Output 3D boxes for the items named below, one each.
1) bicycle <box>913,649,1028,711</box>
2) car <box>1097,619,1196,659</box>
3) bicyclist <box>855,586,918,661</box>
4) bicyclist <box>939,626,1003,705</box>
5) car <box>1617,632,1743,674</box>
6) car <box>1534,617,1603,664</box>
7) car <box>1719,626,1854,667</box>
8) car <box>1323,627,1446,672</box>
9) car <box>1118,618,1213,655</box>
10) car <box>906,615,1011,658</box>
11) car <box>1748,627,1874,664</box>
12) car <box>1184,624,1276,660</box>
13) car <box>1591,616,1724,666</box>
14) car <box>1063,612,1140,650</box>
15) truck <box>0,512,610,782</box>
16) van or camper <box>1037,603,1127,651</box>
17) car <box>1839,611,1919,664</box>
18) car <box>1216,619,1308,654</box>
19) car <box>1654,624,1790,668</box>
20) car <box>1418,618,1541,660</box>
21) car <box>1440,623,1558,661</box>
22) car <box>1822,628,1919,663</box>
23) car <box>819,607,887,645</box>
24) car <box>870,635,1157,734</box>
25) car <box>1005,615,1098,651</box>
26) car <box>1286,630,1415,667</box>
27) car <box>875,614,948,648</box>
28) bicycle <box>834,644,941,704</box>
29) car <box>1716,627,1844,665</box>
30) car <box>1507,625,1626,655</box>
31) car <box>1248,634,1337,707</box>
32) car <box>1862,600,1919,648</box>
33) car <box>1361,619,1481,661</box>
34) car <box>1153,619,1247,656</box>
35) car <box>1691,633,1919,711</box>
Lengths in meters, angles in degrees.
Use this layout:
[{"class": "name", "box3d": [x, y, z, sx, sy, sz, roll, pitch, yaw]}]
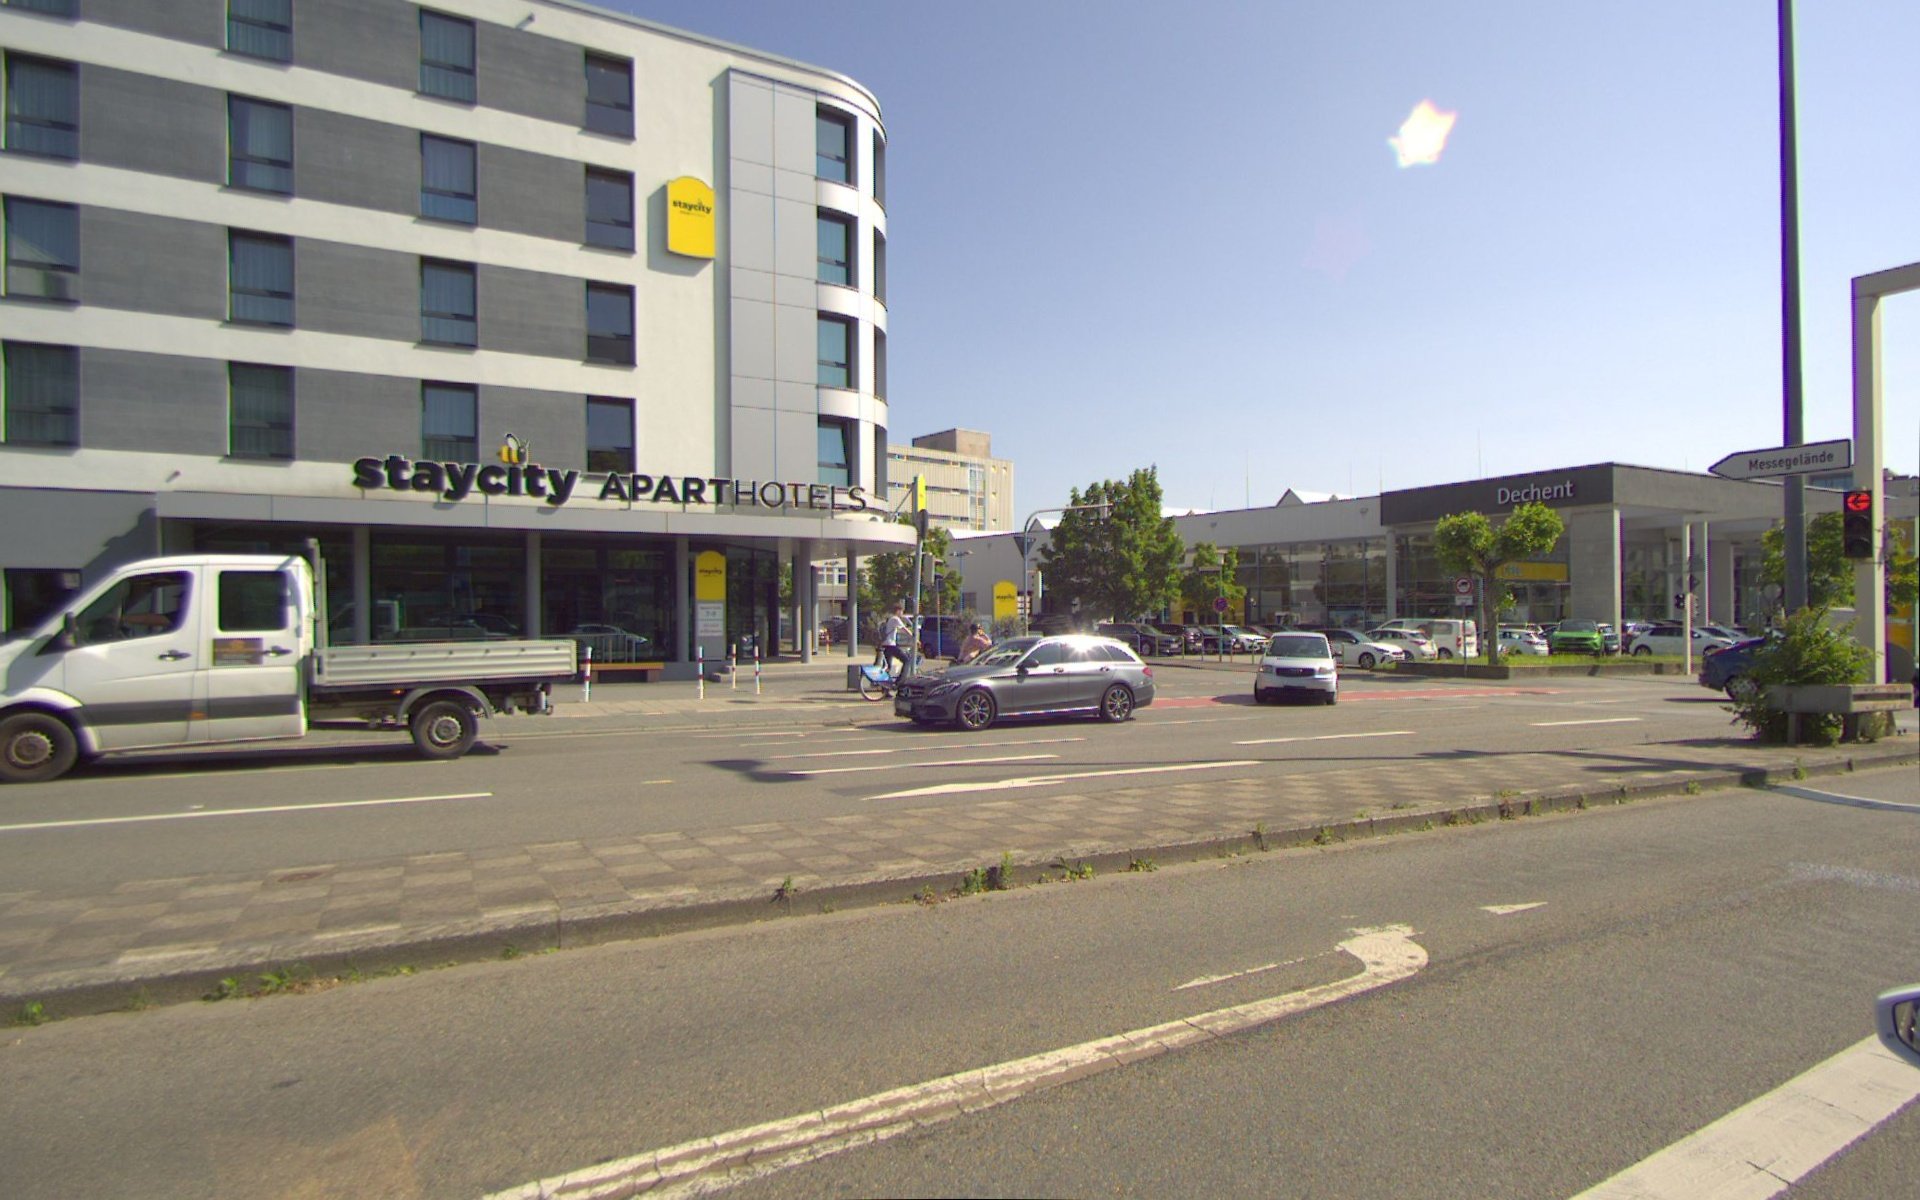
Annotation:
[{"class": "bicycle", "box3d": [0.220, 1.527, 19.530, 2.135, 1.131, 0.765, 1, -1, -29]}, {"class": "car", "box3d": [8.452, 1.752, 45.856, 1.980, 1.719, 4.328, 1, -2, -35]}, {"class": "bicyclist", "box3d": [-1.485, 0.476, 20.352, 1.019, 1.479, 0.761, 1, -2, -40]}, {"class": "bicyclist", "box3d": [0.212, 1.248, 19.516, 1.014, 1.479, 0.765, 1, -1, -28]}, {"class": "car", "box3d": [30.293, 2.208, 42.346, 1.981, 1.620, 3.959, 1, -2, -36]}, {"class": "car", "box3d": [23.989, 1.611, 39.714, 1.870, 1.756, 3.293, 0, -3, 23]}, {"class": "car", "box3d": [37.434, 2.080, 45.591, 1.978, 1.719, 4.333, 2, -1, -32]}, {"class": "car", "box3d": [17.416, 1.989, 41.379, 1.980, 1.719, 4.328, 1, -2, -35]}, {"class": "car", "box3d": [9.849, 1.737, 48.357, 1.980, 1.719, 4.328, 1, -2, -35]}, {"class": "car", "box3d": [-0.128, 1.544, 43.471, 1.984, 1.737, 4.773, 1, -2, -40]}, {"class": "car", "box3d": [41.573, 2.187, 49.178, 1.978, 1.719, 4.333, 1, -2, -32]}, {"class": "car", "box3d": [13.792, 2.123, 51.434, 1.980, 1.719, 4.328, 1, -2, -35]}, {"class": "car", "box3d": [27.347, 1.577, 39.490, 1.978, 1.862, 3.849, 1, -2, -32]}, {"class": "car", "box3d": [7.751, 1.698, 55.299, 1.983, 2.040, 3.956, 1, -2, -38]}, {"class": "truck", "box3d": [-7.708, 0.542, 11.934, 6.365, 2.578, 2.345, 1, -3, -32]}, {"class": "van or camper", "box3d": [6.399, 1.421, 52.995, 1.983, 2.432, 4.678, 1, -2, -38]}, {"class": "car", "box3d": [49.087, 1.938, 52.378, 2.096, 2.720, 4.490, 1, -1, -21]}, {"class": "car", "box3d": [15.808, 1.885, 52.689, 1.982, 1.719, 4.324, 1, -2, -37]}, {"class": "car", "box3d": [32.847, 1.958, 43.403, 1.978, 1.789, 4.274, 1, -2, -32]}, {"class": "car", "box3d": [22.433, 1.666, 43.526, 1.982, 1.719, 4.323, 1, -2, -38]}, {"class": "car", "box3d": [24.547, 1.874, 45.876, 1.982, 1.612, 4.325, 1, -2, -37]}, {"class": "car", "box3d": [47.013, 2.293, 51.123, 1.973, 1.719, 4.345, 1, -1, -24]}, {"class": "car", "box3d": [-6.811, 1.618, 63.474, 1.985, 2.158, 4.565, 2, 0, -42]}, {"class": "car", "box3d": [0.956, 1.317, 16.790, 4.537, 1.446, 1.944, 1, -3, -33]}, {"class": "car", "box3d": [4.560, 1.627, 50.241, 4.304, 1.719, 1.991, -1, -2, 39]}, {"class": "car", "box3d": [15.112, 1.859, 39.061, 1.980, 1.317, 4.328, 1, -2, -35]}, {"class": "car", "box3d": [-2.901, 1.821, 59.488, 1.971, 1.815, 4.376, 2, 0, -42]}, {"class": "bicycle", "box3d": [-1.442, 1.466, 20.361, 2.144, 1.131, 0.761, 2, -2, -41]}, {"class": "car", "box3d": [38.852, 2.136, 47.718, 1.978, 1.719, 4.333, 1, -2, -32]}, {"class": "car", "box3d": [27.862, 1.838, 46.263, 1.982, 1.284, 4.325, 4, -4, -37]}, {"class": "car", "box3d": [7.576, 1.514, 22.710, 1.743, 1.457, 3.916, 0, -1, 20]}, {"class": "car", "box3d": [53.233, 1.354, 55.752, 1.973, 2.635, 4.345, 1, -1, -24]}, {"class": "car", "box3d": [19.851, 1.706, 43.364, 1.982, 1.719, 4.323, 1, -2, -38]}, {"class": "car", "box3d": [11.770, 1.813, 49.509, 1.980, 1.719, 4.328, 1, -2, -35]}, {"class": "car", "box3d": [18.935, 1.542, 22.267, 4.297, 1.466, 1.994, 1, -1, 34]}]
